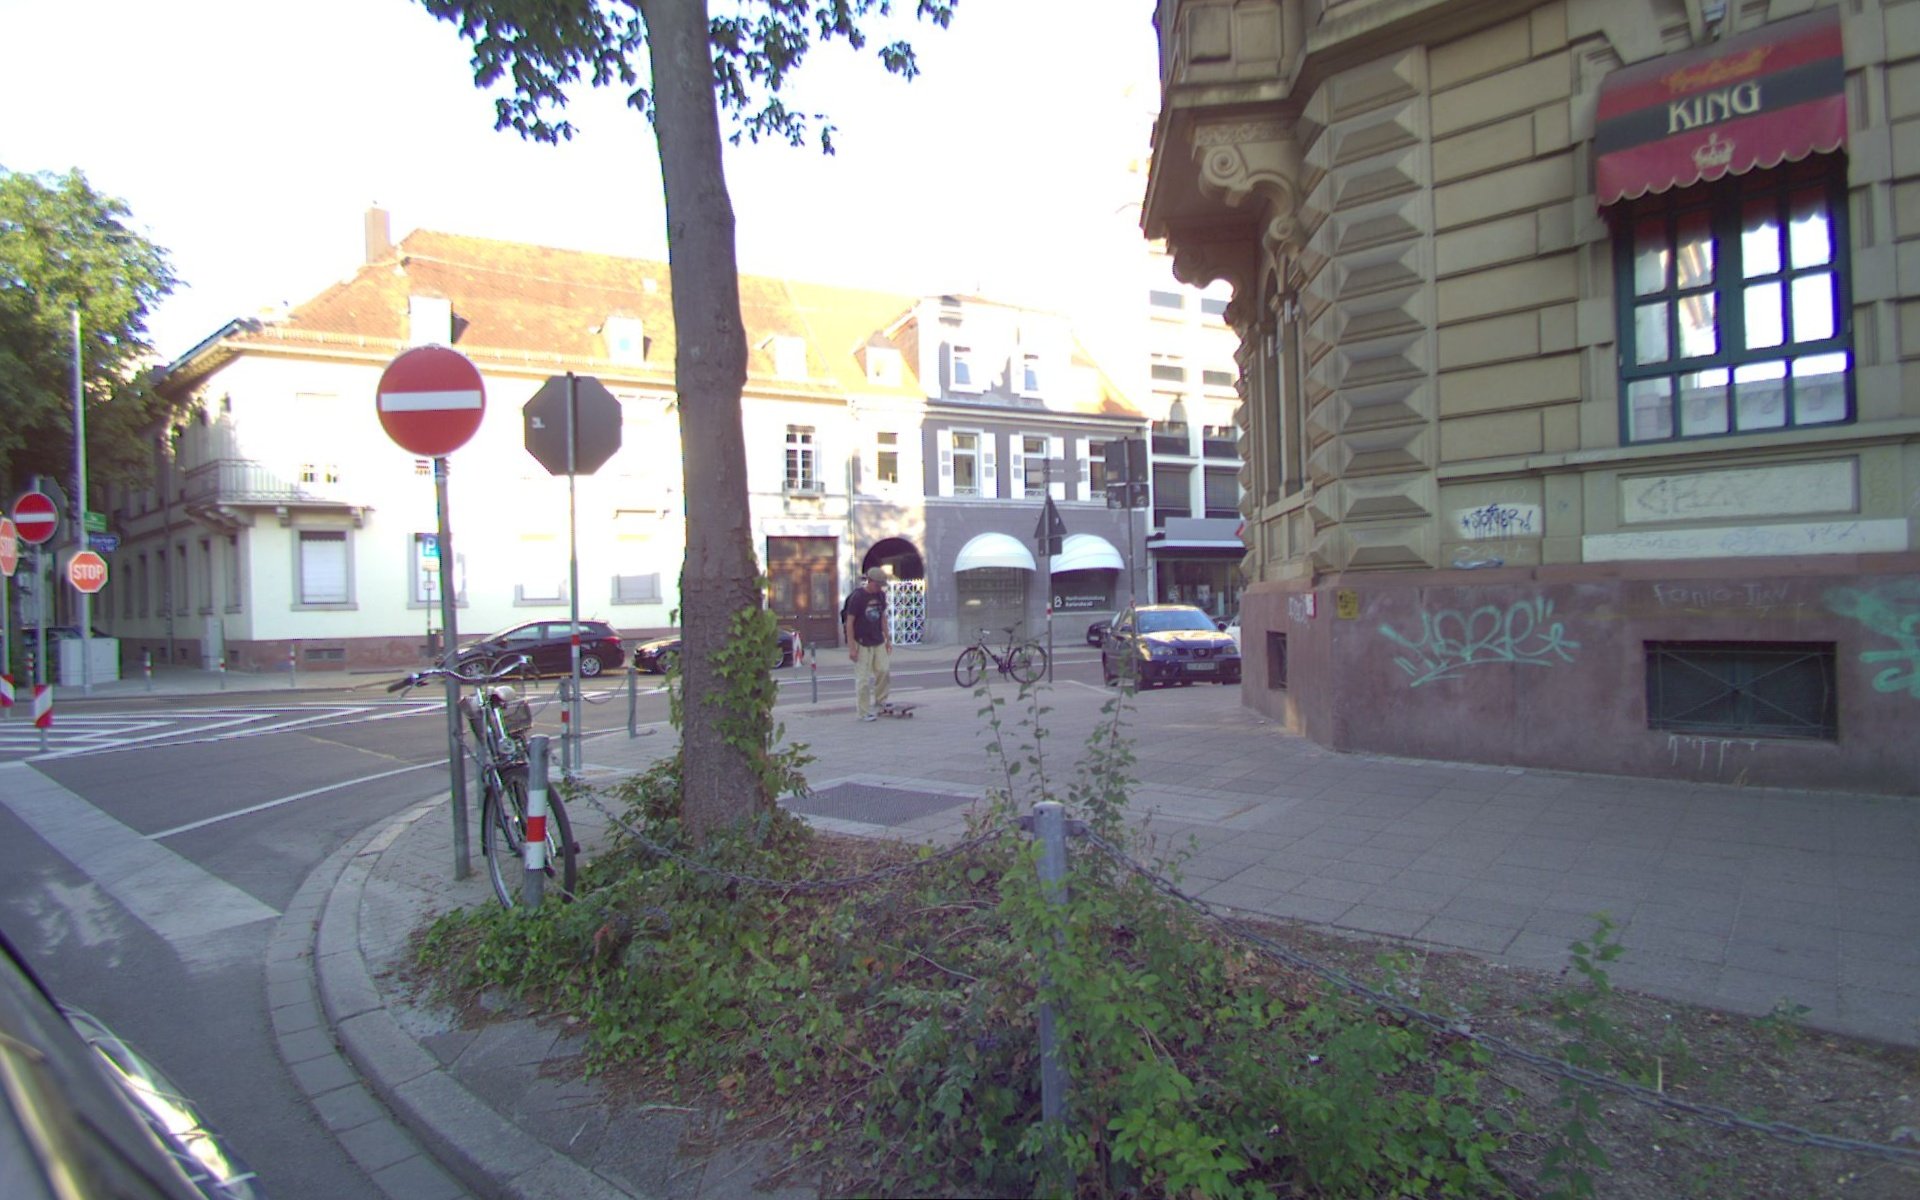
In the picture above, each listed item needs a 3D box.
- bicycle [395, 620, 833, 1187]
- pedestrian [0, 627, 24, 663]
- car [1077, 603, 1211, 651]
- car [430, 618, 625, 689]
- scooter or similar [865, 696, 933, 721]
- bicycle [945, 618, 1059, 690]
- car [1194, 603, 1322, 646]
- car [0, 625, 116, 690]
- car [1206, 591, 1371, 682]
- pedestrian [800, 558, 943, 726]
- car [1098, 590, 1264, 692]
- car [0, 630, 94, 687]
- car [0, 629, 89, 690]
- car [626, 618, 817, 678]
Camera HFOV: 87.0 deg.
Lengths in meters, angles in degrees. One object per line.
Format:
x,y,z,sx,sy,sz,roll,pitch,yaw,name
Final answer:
-1.422,0.734,3.623,0.832,1.277,2.579,0,-2,-34,bicycle
-47.791,2.257,50.926,1.020,1.784,0.883,-2,-1,40,pedestrian
6.200,0.895,34.068,4.176,1.458,1.754,-1,-1,-27,car
-10.873,1.299,25.517,4.354,1.553,1.813,-1,-2,-26,car
-0.704,1.232,11.527,0.411,0.208,0.884,-2,-1,-31,scooter or similar
0.718,0.922,17.426,1.773,1.134,0.730,-2,-4,-18,bicycle
10.759,0.866,36.505,4.423,1.398,1.753,-1,-1,-28,car
-25.386,1.553,27.137,1.827,1.627,3.948,-2,-1,39,car
6.265,0.730,19.893,1.744,1.523,4.626,-2,-2,1,car
-0.979,0.466,11.274,1.260,1.752,0.843,-4,-2,26,pedestrian
3.553,0.733,16.989,1.715,1.472,3.865,-2,-4,-3,car
-28.860,1.775,30.497,1.721,1.627,3.948,-2,-1,39,car
-27.326,1.692,28.547,1.721,1.627,3.948,-2,-1,39,car
-6.491,1.279,27.591,4.773,1.405,1.784,-1,-2,-25,car
